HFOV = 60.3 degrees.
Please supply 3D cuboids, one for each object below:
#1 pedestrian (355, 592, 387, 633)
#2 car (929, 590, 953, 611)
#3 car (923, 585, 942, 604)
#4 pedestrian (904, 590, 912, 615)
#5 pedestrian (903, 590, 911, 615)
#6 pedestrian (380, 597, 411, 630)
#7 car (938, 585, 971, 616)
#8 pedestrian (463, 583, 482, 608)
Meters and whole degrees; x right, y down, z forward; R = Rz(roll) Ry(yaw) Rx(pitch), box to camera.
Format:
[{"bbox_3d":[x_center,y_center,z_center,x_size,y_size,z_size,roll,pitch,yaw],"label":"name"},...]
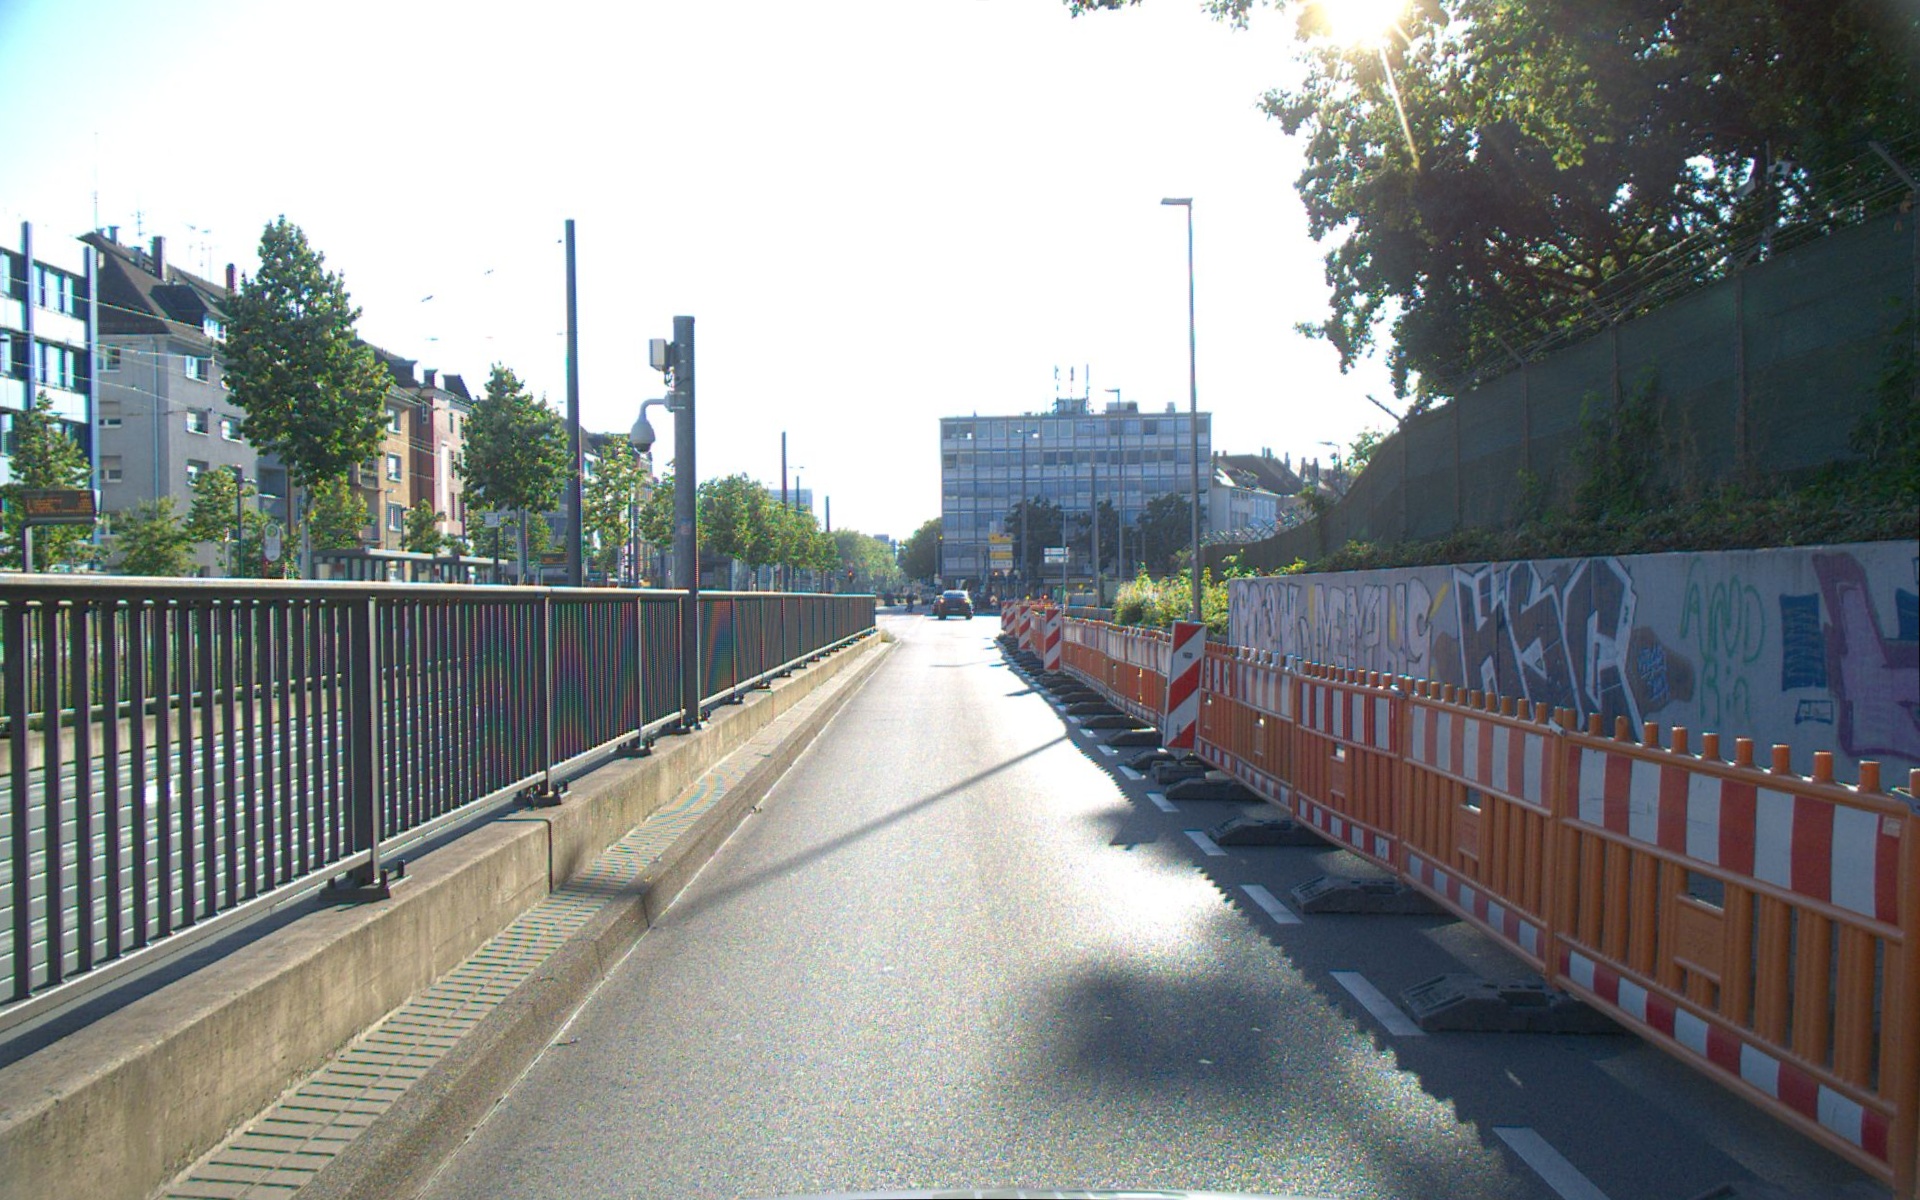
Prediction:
[{"bbox_3d":[-21.080,0.436,59.210,0.821,1.435,0.803,-1,0,-1],"label":"pedestrian"},{"bbox_3d":[-1.358,0.015,120.051,1.708,1.451,4.000,-1,0,0],"label":"car"},{"bbox_3d":[-3.711,-0.728,224.127,2.436,2.434,5.932,-3,0,-2],"label":"car"},{"bbox_3d":[-4.192,0.215,133.910,0.600,2.049,0.511,0,0,2],"label":"pedestrian"},{"bbox_3d":[-4.297,0.216,134.474,0.600,2.049,0.511,0,0,2],"label":"pedestrian"},{"bbox_3d":[-21.084,0.501,61.782,0.915,1.218,0.764,-1,0,-1],"label":"pedestrian"},{"bbox_3d":[-0.346,0.013,101.241,1.953,1.723,4.000,0,1,-1],"label":"car"},{"bbox_3d":[-21.059,-0.211,71.462,0.614,1.065,0.794,-1,0,-1],"label":"pedestrian"}]
